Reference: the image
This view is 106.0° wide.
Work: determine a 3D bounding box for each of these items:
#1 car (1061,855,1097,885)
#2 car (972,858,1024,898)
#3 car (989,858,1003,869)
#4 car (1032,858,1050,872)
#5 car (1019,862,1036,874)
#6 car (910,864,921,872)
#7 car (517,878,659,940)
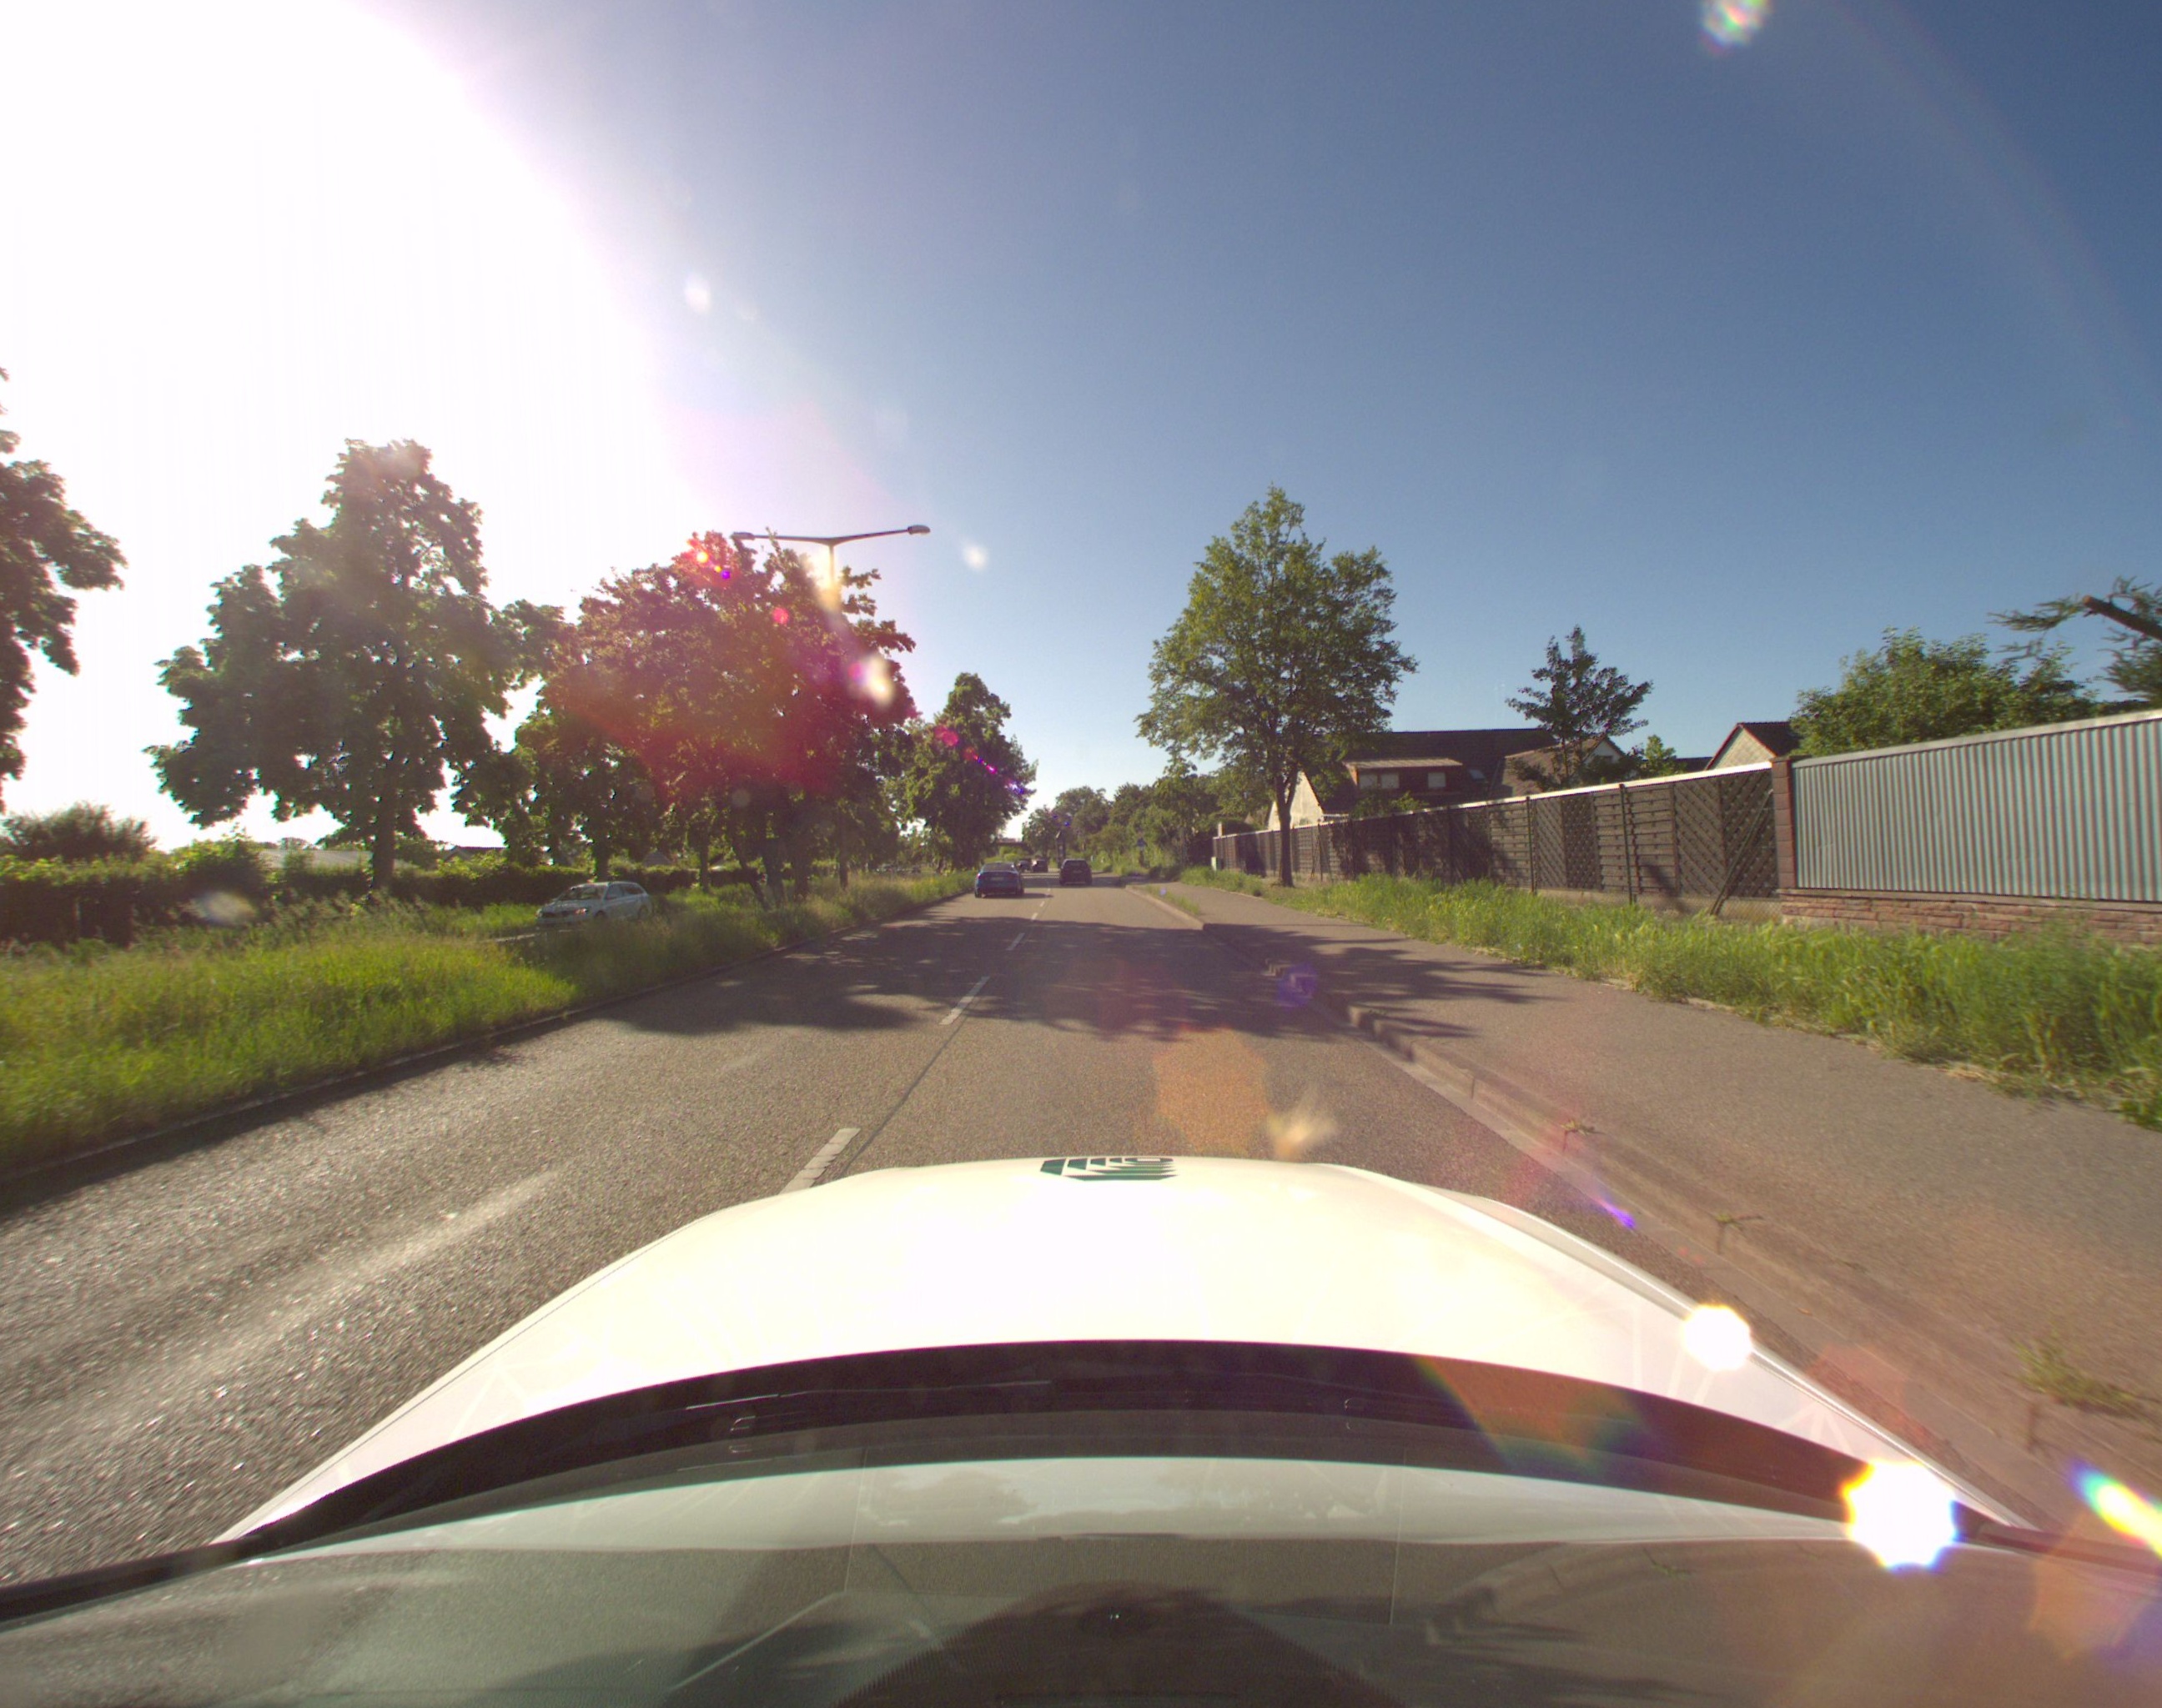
[{"bbox_3d":[-0.181,0.868,46.210,1.910,1.579,4.179,-2,0,-2],"label":"car"},{"bbox_3d":[-3.370,0.936,33.755,1.834,1.474,4.180,-2,0,-3],"label":"car"},{"bbox_3d":[-12.101,1.377,116.198,1.913,1.512,4.058,-2,0,-6],"label":"car"},{"bbox_3d":[-4.594,1.234,94.116,1.912,1.579,4.175,-1,-1,-5],"label":"car"},{"bbox_3d":[-7.790,2.041,118.642,1.916,1.678,3.996,-1,-1,-12],"label":"car"},{"bbox_3d":[-30.009,2.556,147.942,1.669,1.467,3.770,-2,0,-9],"label":"car"},{"bbox_3d":[-14.962,1.606,25.016,1.664,1.467,4.179,-5,0,0],"label":"car"}]
